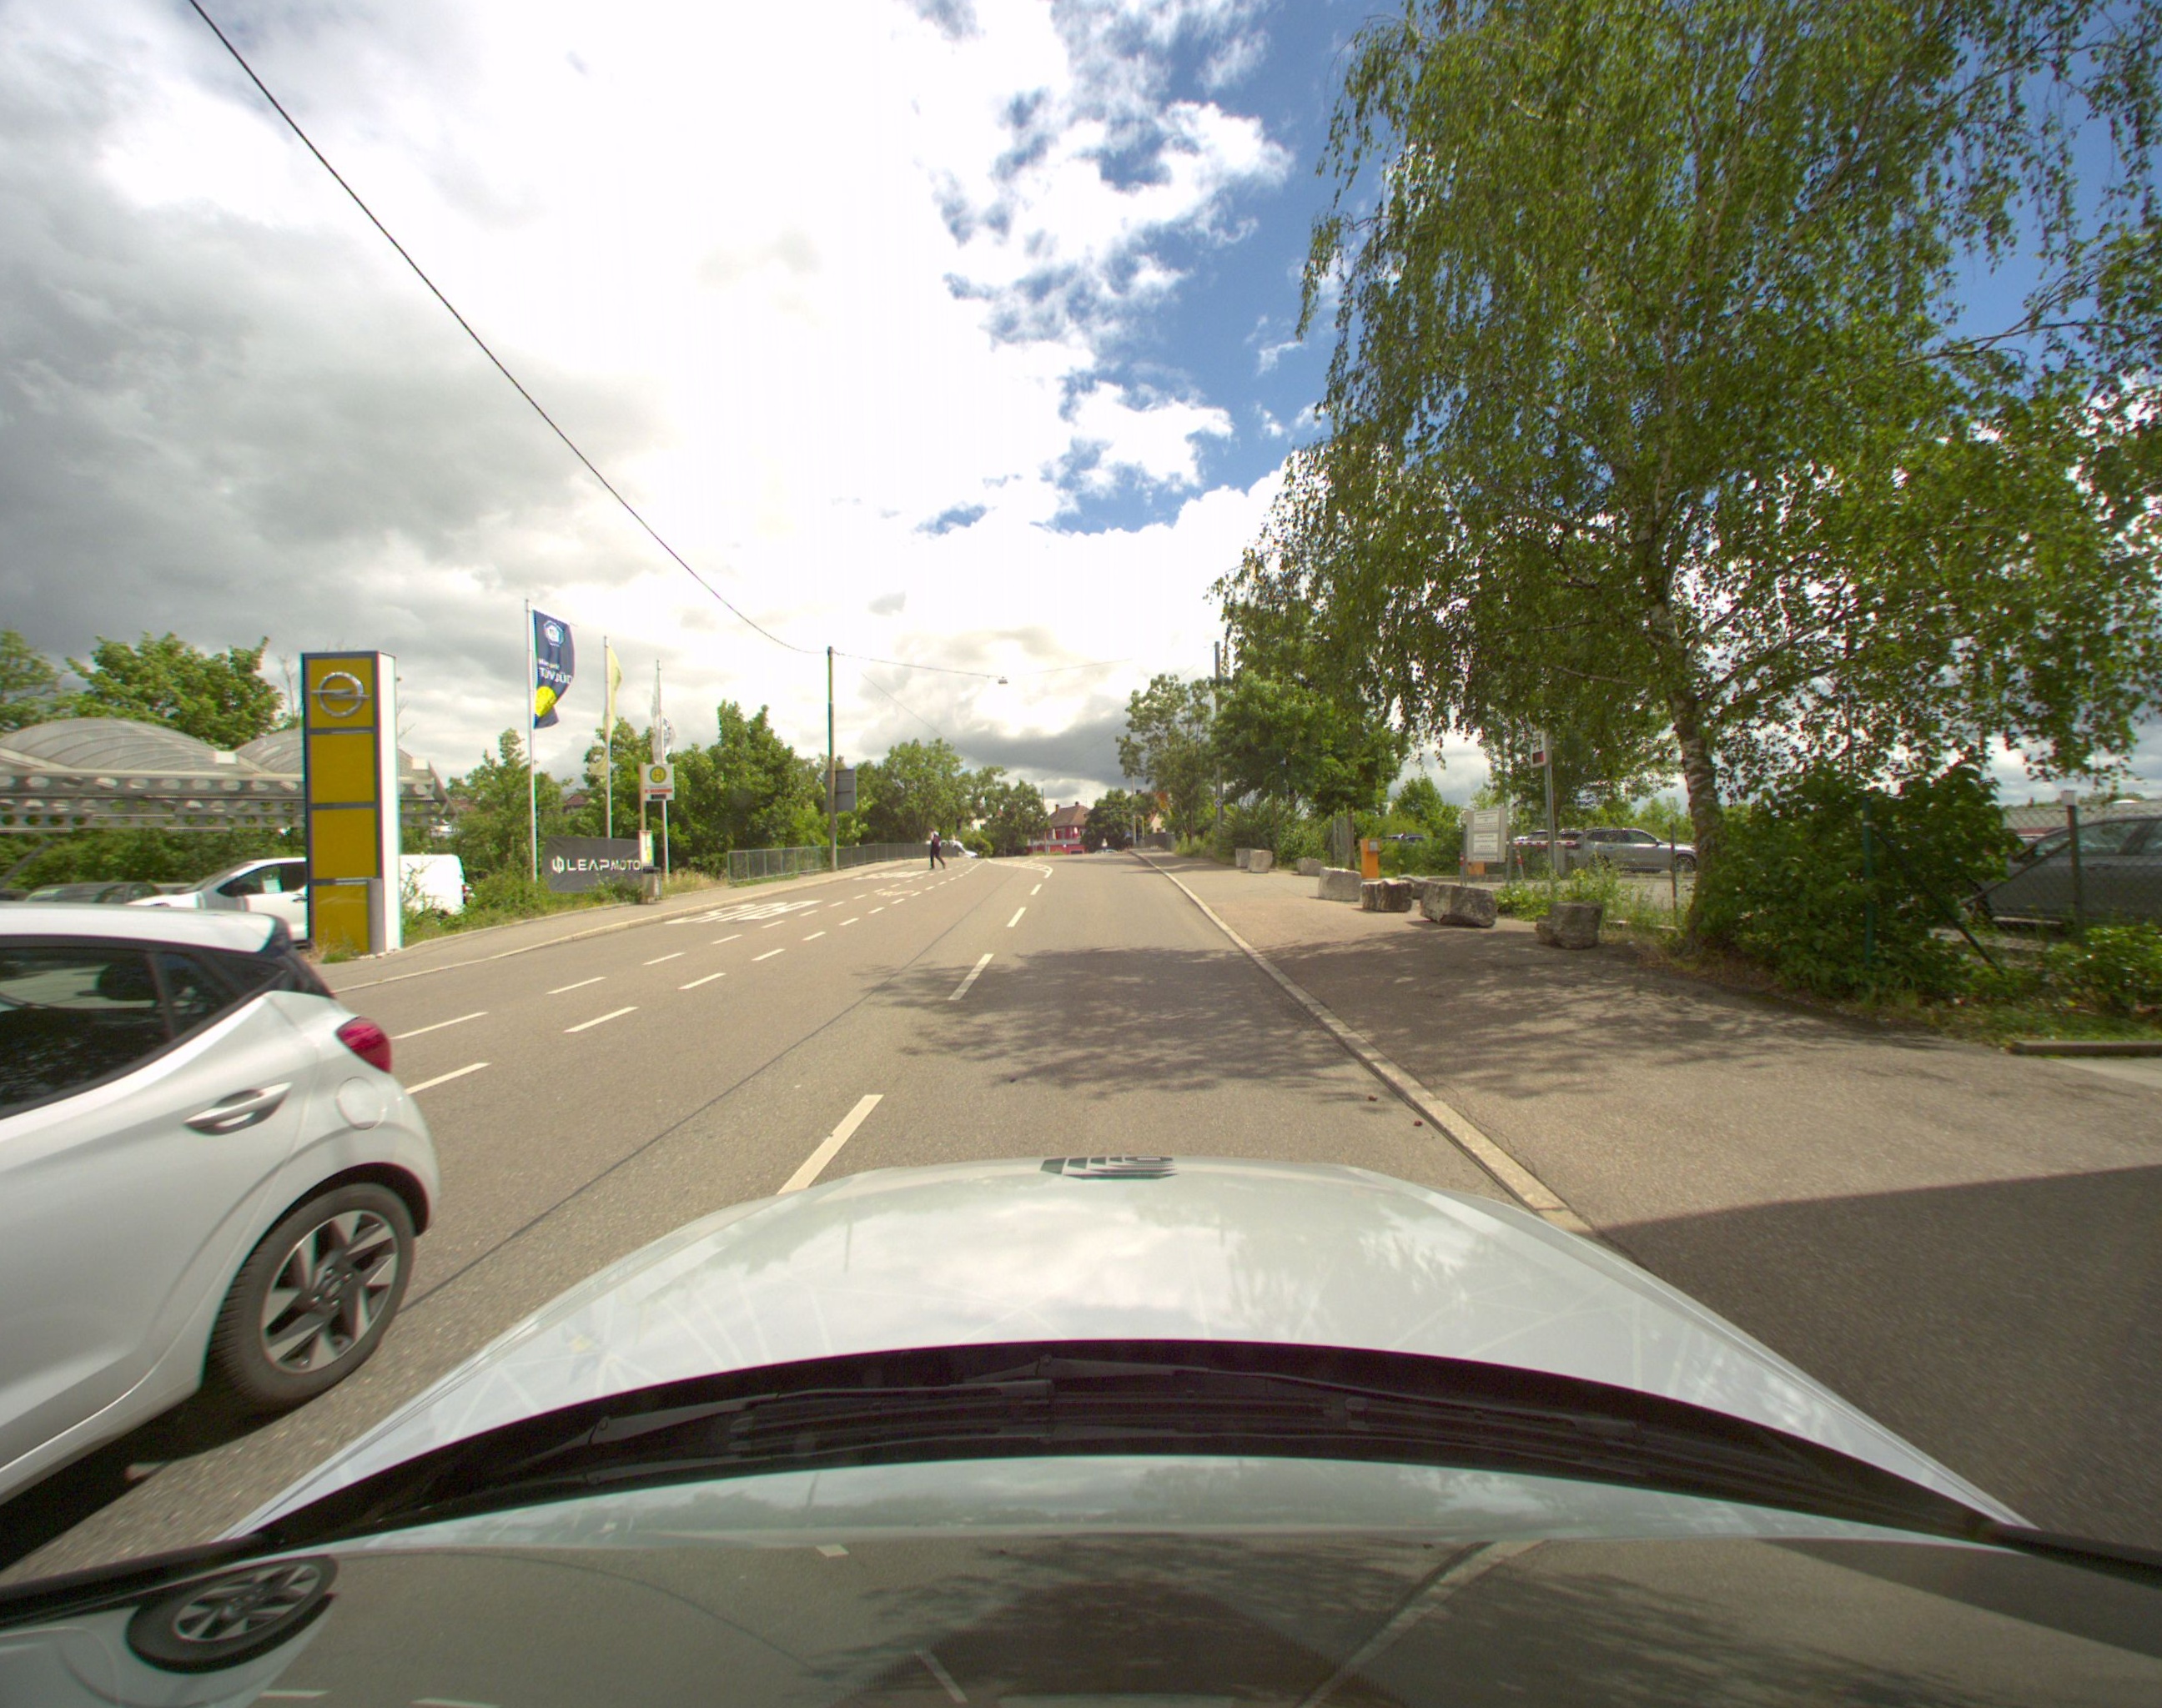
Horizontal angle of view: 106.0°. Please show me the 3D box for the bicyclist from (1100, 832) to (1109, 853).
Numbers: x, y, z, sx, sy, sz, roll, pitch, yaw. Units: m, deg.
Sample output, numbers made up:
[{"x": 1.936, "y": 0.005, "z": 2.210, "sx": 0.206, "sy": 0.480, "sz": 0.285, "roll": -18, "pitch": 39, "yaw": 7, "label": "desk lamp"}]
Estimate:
[{"x": 2.157, "y": -1.021, "z": 74.046, "sx": 0.681, "sy": 1.826, "sz": 1.082, "roll": -1, "pitch": -5, "yaw": 6, "label": "bicyclist"}]

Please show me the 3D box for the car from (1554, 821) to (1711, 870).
[{"x": 18.179, "y": -0.269, "z": 27.001, "sx": 3.966, "sy": 1.486, "sz": 1.780, "roll": 1, "pitch": -1, "yaw": 7, "label": "car"}]

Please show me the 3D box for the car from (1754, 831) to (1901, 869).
[{"x": 29.472, "y": -0.119, "z": 32.298, "sx": 1.721, "sy": 1.391, "sz": 3.974, "roll": 2, "pitch": -1, "yaw": -19, "label": "car"}]

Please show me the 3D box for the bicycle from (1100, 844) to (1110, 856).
[{"x": 2.177, "y": -0.334, "z": 74.066, "sx": 0.684, "sy": 0.878, "sz": 2.104, "roll": -1, "pitch": -4, "yaw": 6, "label": "bicycle"}]

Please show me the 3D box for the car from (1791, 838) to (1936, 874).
[{"x": 32.158, "y": 0.105, "z": 33.620, "sx": 1.721, "sy": 1.391, "sz": 3.974, "roll": 2, "pitch": -1, "yaw": -19, "label": "car"}]

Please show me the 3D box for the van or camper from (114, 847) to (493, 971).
[{"x": -14.744, "y": 0.882, "z": 15.819, "sx": 1.964, "sy": 1.963, "sz": 4.991, "roll": -1, "pitch": 1, "yaw": 34, "label": "van or camper"}]

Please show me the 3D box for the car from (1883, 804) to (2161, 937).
[{"x": 12.108, "y": 0.207, "z": 9.391, "sx": 1.709, "sy": 1.391, "sz": 4.143, "roll": 1, "pitch": -1, "yaw": 1, "label": "car"}]

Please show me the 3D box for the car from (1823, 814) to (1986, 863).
[{"x": 34.985, "y": -0.589, "z": 34.784, "sx": 1.723, "sy": 1.875, "sz": 4.610, "roll": 2, "pitch": -1, "yaw": -24, "label": "car"}]

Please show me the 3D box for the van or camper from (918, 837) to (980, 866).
[{"x": -13.501, "y": -0.277, "z": 83.450, "sx": 5.886, "sy": 2.567, "sz": 2.194, "roll": -3, "pitch": -3, "yaw": 2, "label": "van or camper"}]

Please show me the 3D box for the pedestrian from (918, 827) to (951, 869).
[{"x": -6.486, "y": -0.281, "z": 36.169, "sx": 1.024, "sy": 1.837, "sz": 1.005, "roll": -1, "pitch": 1, "yaw": 25, "label": "pedestrian"}]

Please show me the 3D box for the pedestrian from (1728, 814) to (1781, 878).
[{"x": 18.455, "y": -0.197, "z": 22.325, "sx": 0.817, "sy": 1.697, "sz": 0.873, "roll": 2, "pitch": -2, "yaw": -28, "label": "pedestrian"}]

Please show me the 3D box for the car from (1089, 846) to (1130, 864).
[{"x": 3.248, "y": 0.128, "z": 93.076, "sx": 4.452, "sy": 1.831, "sz": 1.978, "roll": 2, "pitch": -2, "yaw": -37, "label": "car"}]

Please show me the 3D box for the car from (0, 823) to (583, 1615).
[{"x": -3.019, "y": 0.726, "z": 1.461, "sx": 1.713, "sy": 1.581, "sz": 4.000, "roll": 0, "pitch": -1, "yaw": 1, "label": "car"}]

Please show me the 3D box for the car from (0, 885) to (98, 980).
[{"x": -19.009, "y": 1.328, "z": 12.910, "sx": 4.018, "sy": 1.466, "sz": 1.798, "roll": -1, "pitch": -1, "yaw": -36, "label": "car"}]
